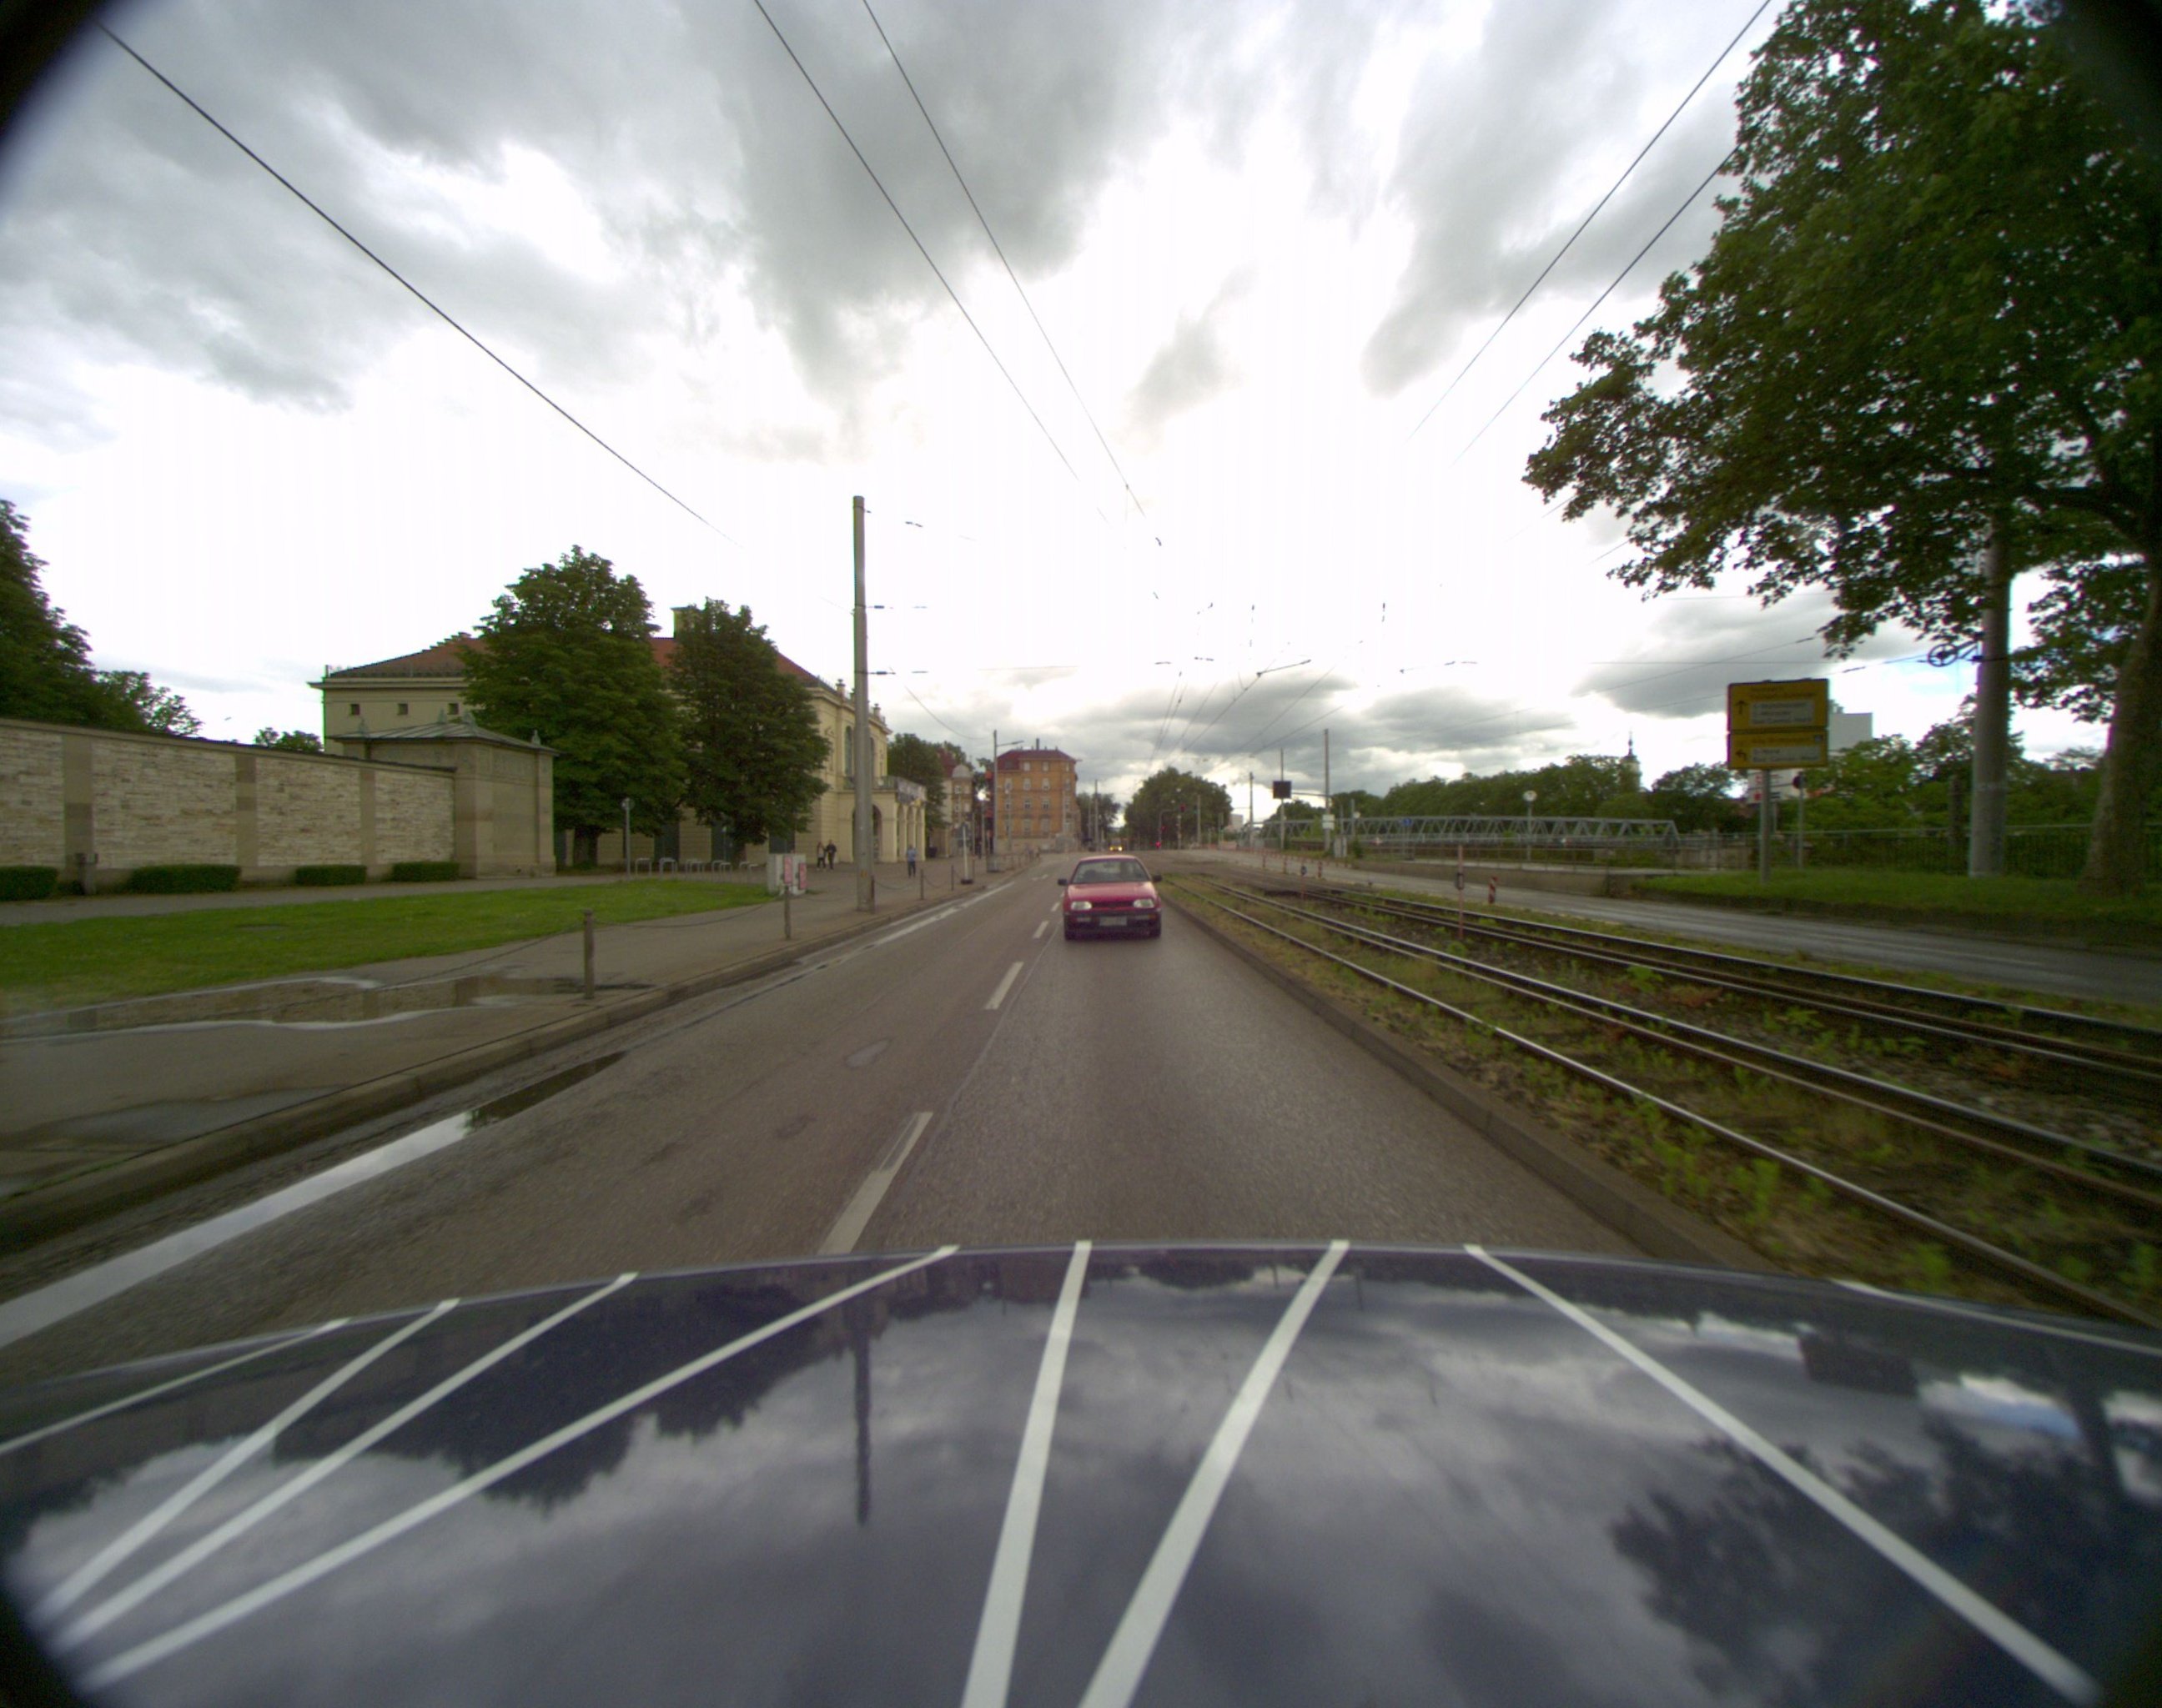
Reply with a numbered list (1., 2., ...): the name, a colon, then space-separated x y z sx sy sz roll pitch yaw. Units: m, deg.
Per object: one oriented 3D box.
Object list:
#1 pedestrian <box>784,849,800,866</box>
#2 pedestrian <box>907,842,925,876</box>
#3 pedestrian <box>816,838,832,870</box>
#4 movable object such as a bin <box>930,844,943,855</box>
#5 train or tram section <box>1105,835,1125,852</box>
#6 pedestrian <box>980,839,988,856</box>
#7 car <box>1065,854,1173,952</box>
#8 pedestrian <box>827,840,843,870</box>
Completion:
1. pedestrian: -16.448 0.195 43.218 0.760 0.995 0.595 -1 2 -34
2. pedestrian: -8.589 0.267 39.569 0.672 1.758 0.936 0 2 1
3. pedestrian: -14.366 0.009 42.483 0.596 1.782 0.808 0 2 1
4. movable object such as a bin: -18.804 -0.619 98.891 1.297 1.361 1.379 0 1 1
5. train or tram section: 7.548 -2.491 171.482 3.739 3.346 17.550 1 2 0
6. pedestrian: -9.728 -0.638 76.528 0.672 1.758 0.936 0 2 1
7. car: 0.636 0.785 14.230 1.681 1.434 4.119 -2 1 1
8. pedestrian: -13.749 0.036 42.473 0.598 1.689 0.790 0 2 1
